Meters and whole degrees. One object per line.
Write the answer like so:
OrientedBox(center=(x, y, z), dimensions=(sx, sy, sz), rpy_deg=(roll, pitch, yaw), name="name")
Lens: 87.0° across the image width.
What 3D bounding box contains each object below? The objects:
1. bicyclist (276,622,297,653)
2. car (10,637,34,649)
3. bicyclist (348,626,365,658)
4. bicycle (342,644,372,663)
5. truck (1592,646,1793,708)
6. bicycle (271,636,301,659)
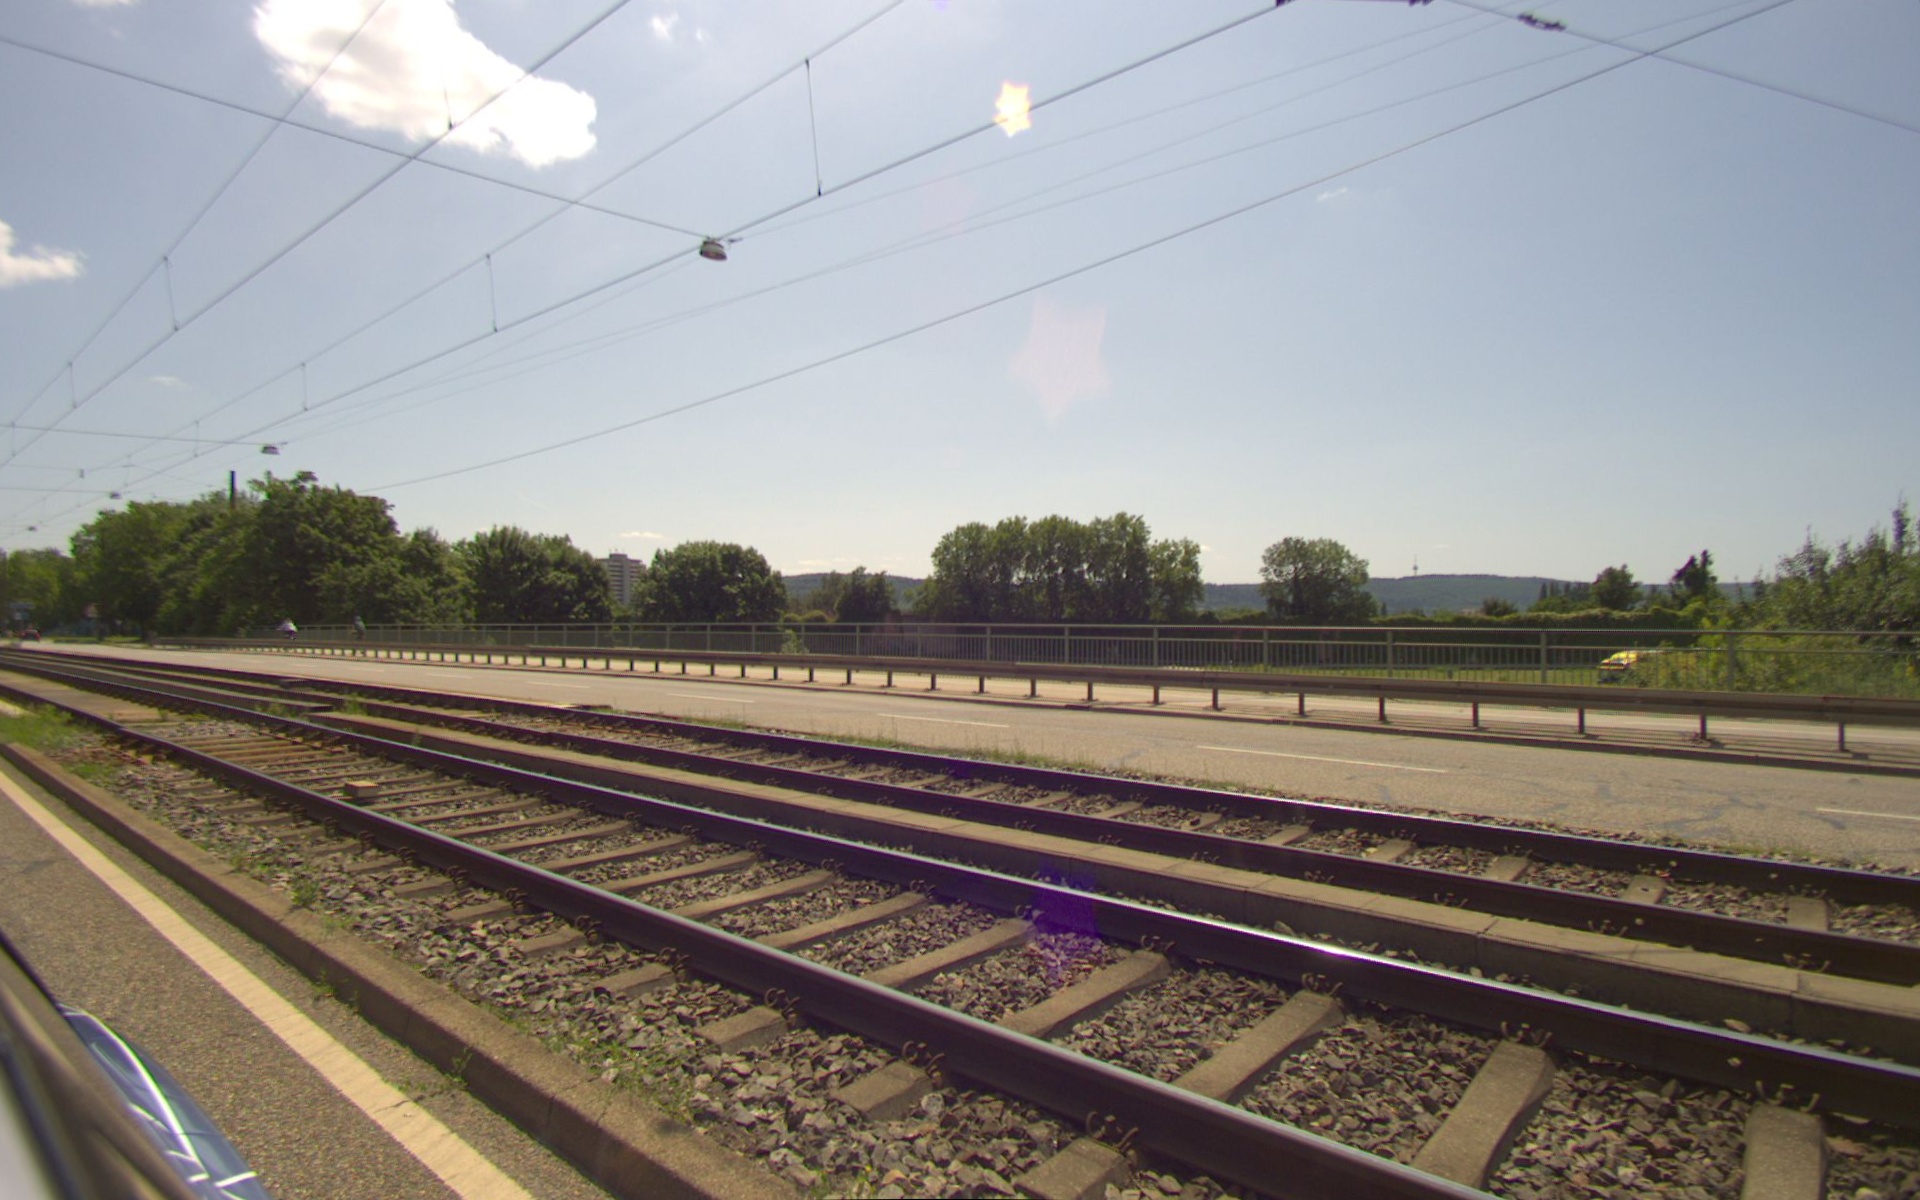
OrientedBox(center=(-36.472, 2.039, 54.802), dimensions=(0.837, 1.634, 0.755), rpy_deg=(-2, -1, 41), name="bicyclist")
OrientedBox(center=(-107.195, 4.912, 115.640), dimensions=(3.927, 1.357, 1.547), rpy_deg=(-1, -3, 41), name="car")
OrientedBox(center=(-28.129, 1.954, 47.170), dimensions=(0.529, 1.509, 0.515), rpy_deg=(-2, -2, 40), name="bicyclist")
OrientedBox(center=(-28.089, 2.500, 47.125), dimensions=(2.034, 0.849, 0.517), rpy_deg=(-2, -1, 40), name="bicycle")
OrientedBox(center=(52.955, 5.460, 72.978), dimensions=(16.268, 3.790, 2.649), rpy_deg=(0, -1, -18), name="truck")
OrientedBox(center=(-36.485, 2.584, 54.774), dimensions=(2.060, 1.194, 0.848), rpy_deg=(-1, -1, 40), name="bicycle")
